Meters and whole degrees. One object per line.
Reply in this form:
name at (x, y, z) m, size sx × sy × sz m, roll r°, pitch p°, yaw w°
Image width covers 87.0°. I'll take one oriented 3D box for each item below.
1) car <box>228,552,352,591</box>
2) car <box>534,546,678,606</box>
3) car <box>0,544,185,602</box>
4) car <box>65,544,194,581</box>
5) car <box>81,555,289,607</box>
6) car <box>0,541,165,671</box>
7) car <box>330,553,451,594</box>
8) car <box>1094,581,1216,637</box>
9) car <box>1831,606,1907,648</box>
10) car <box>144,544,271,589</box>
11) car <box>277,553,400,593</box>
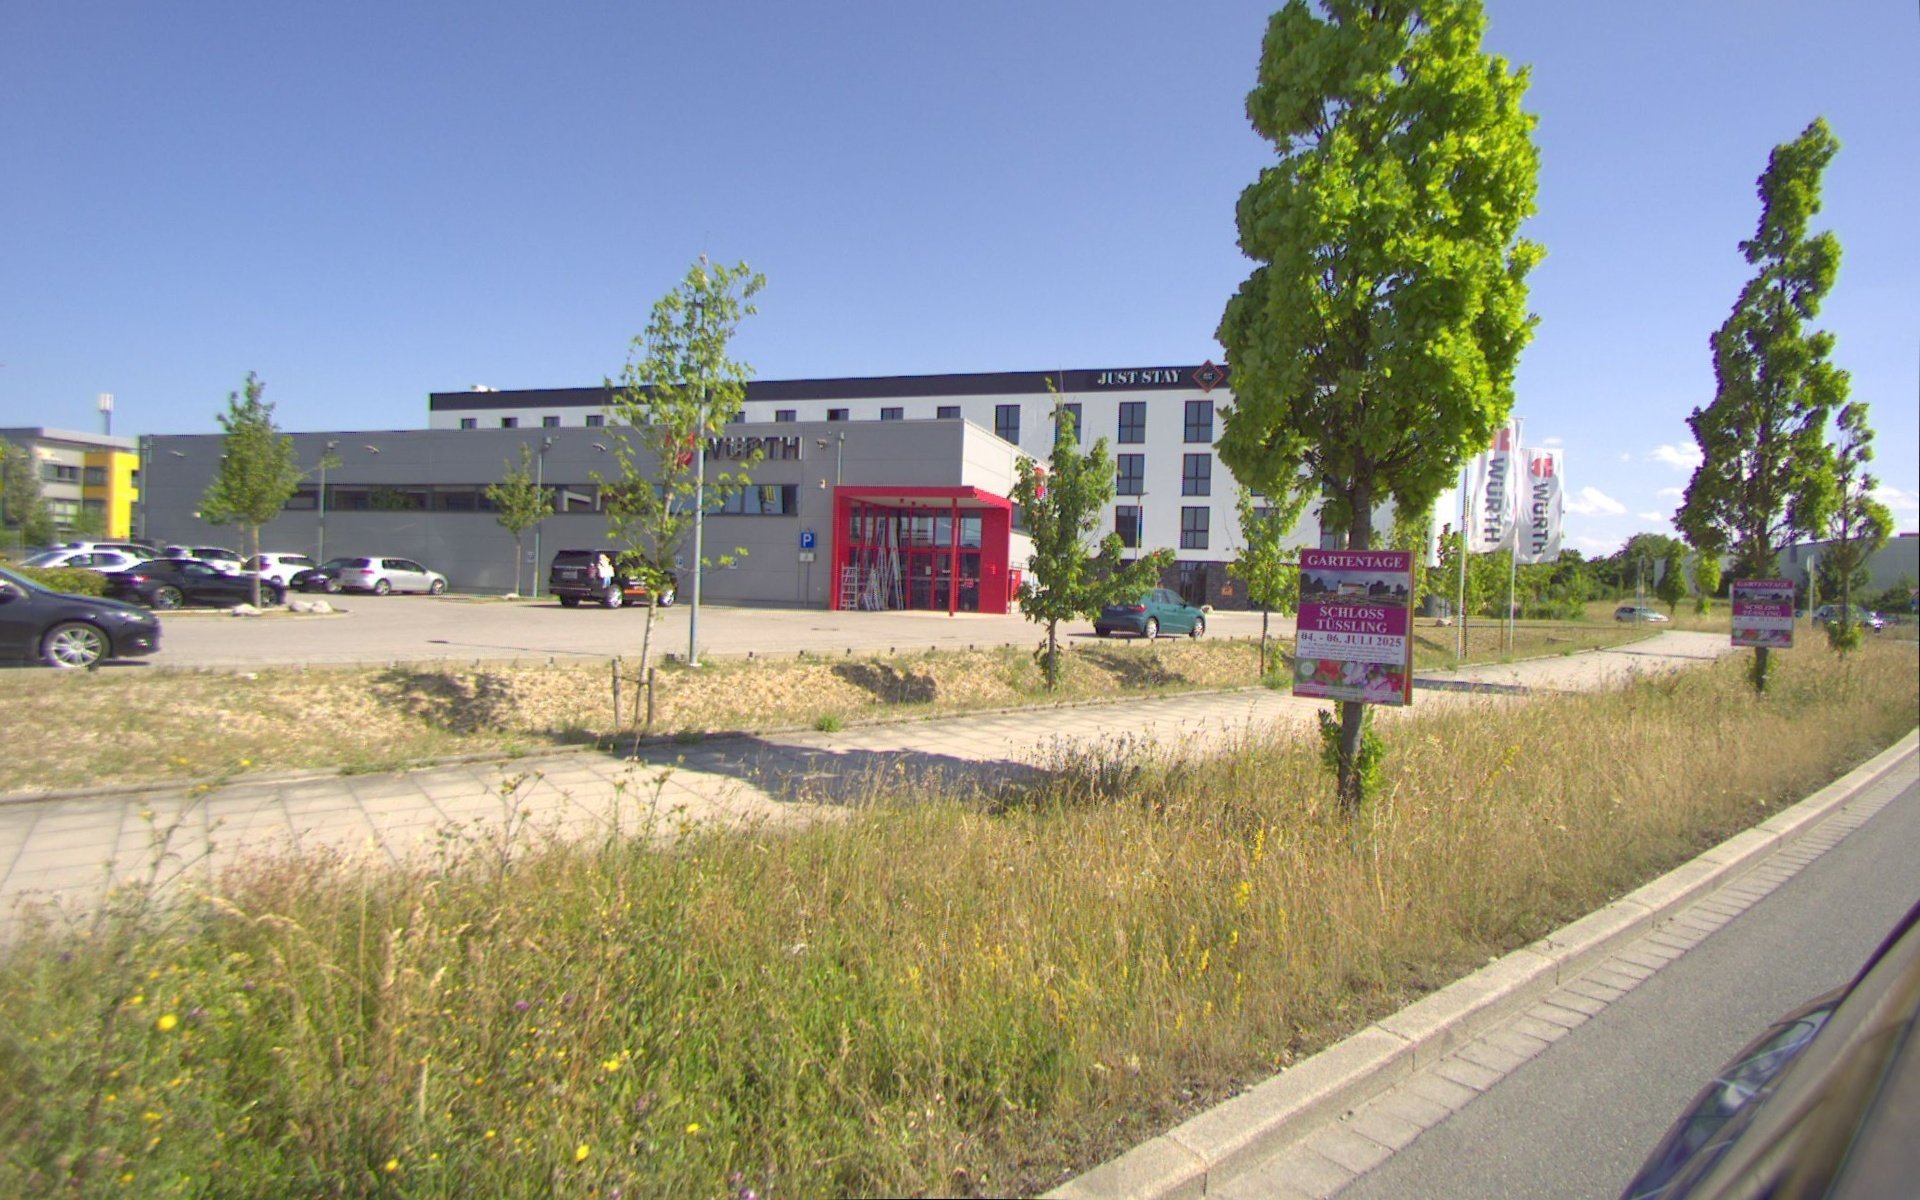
car at (-27.186, -1.128, 41.204) m, size 1.679 × 1.480 × 4.086 m, roll 2°, pitch 1°, yaw 18°
car at (-11.985, -0.802, 34.631) m, size 2.023 × 1.838 × 4.893 m, roll 2°, pitch 1°, yaw 19°
car at (-24.321, -0.740, 28.160) m, size 1.679 × 1.490 × 4.210 m, roll 2°, pitch 1°, yaw 17°
car at (-36.050, -1.601, 44.048) m, size 1.679 × 1.480 × 4.086 m, roll 2°, pitch 1°, yaw 18°
car at (-19.887, -0.494, 26.194) m, size 1.631 × 1.227 × 4.114 m, roll 2°, pitch 1°, yaw 17°
car at (-12.451, 0.041, 12.491) m, size 4.095 × 1.559 × 1.784 m, roll 0°, pitch 1°, yaw -40°
car at (-22.149, -1.012, 39.534) m, size 1.679 × 1.480 × 4.086 m, roll 2°, pitch 1°, yaw 18°
car at (5.531, 0.226, 28.404) m, size 1.513 × 1.425 × 3.938 m, roll 2°, pitch 1°, yaw 43°
car at (41.616, 1.188, 46.441) m, size 1.744 × 1.708 × 4.332 m, roll 2°, pitch 1°, yaw 31°
car at (-31.561, -1.386, 42.595) m, size 1.679 × 1.779 × 4.086 m, roll 2°, pitch 1°, yaw 18°
car at (-24.632, -1.069, 40.278) m, size 1.679 × 1.480 × 4.086 m, roll 2°, pitch 1°, yaw 18°
